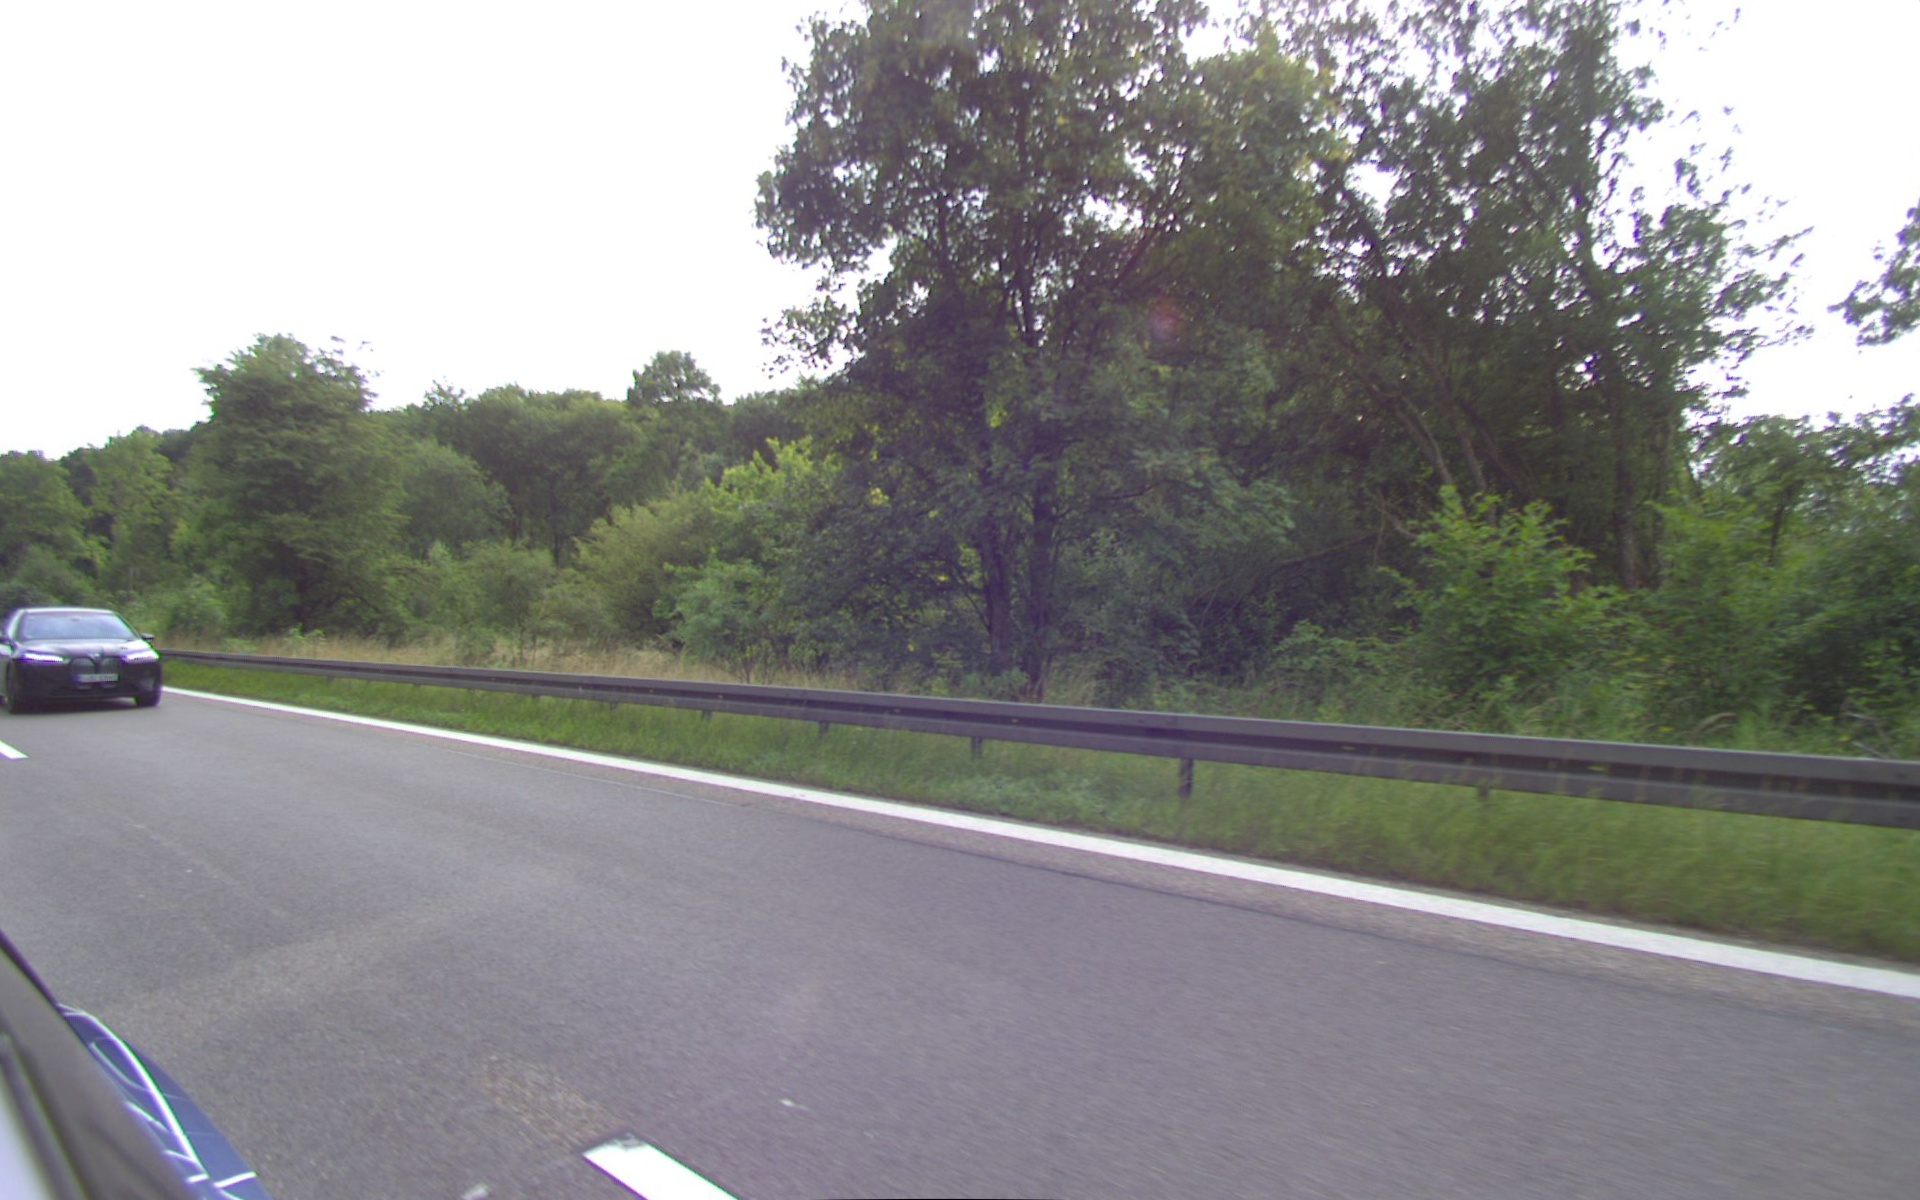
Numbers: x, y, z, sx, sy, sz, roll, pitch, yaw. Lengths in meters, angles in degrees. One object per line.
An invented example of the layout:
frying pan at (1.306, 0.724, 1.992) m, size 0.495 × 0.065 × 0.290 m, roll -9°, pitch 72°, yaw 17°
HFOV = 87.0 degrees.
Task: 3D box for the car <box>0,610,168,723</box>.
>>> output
car at (-15.456, 1.044, 17.556) m, size 4.414 × 1.678 × 1.972 m, roll -1°, pitch 0°, yaw 42°
